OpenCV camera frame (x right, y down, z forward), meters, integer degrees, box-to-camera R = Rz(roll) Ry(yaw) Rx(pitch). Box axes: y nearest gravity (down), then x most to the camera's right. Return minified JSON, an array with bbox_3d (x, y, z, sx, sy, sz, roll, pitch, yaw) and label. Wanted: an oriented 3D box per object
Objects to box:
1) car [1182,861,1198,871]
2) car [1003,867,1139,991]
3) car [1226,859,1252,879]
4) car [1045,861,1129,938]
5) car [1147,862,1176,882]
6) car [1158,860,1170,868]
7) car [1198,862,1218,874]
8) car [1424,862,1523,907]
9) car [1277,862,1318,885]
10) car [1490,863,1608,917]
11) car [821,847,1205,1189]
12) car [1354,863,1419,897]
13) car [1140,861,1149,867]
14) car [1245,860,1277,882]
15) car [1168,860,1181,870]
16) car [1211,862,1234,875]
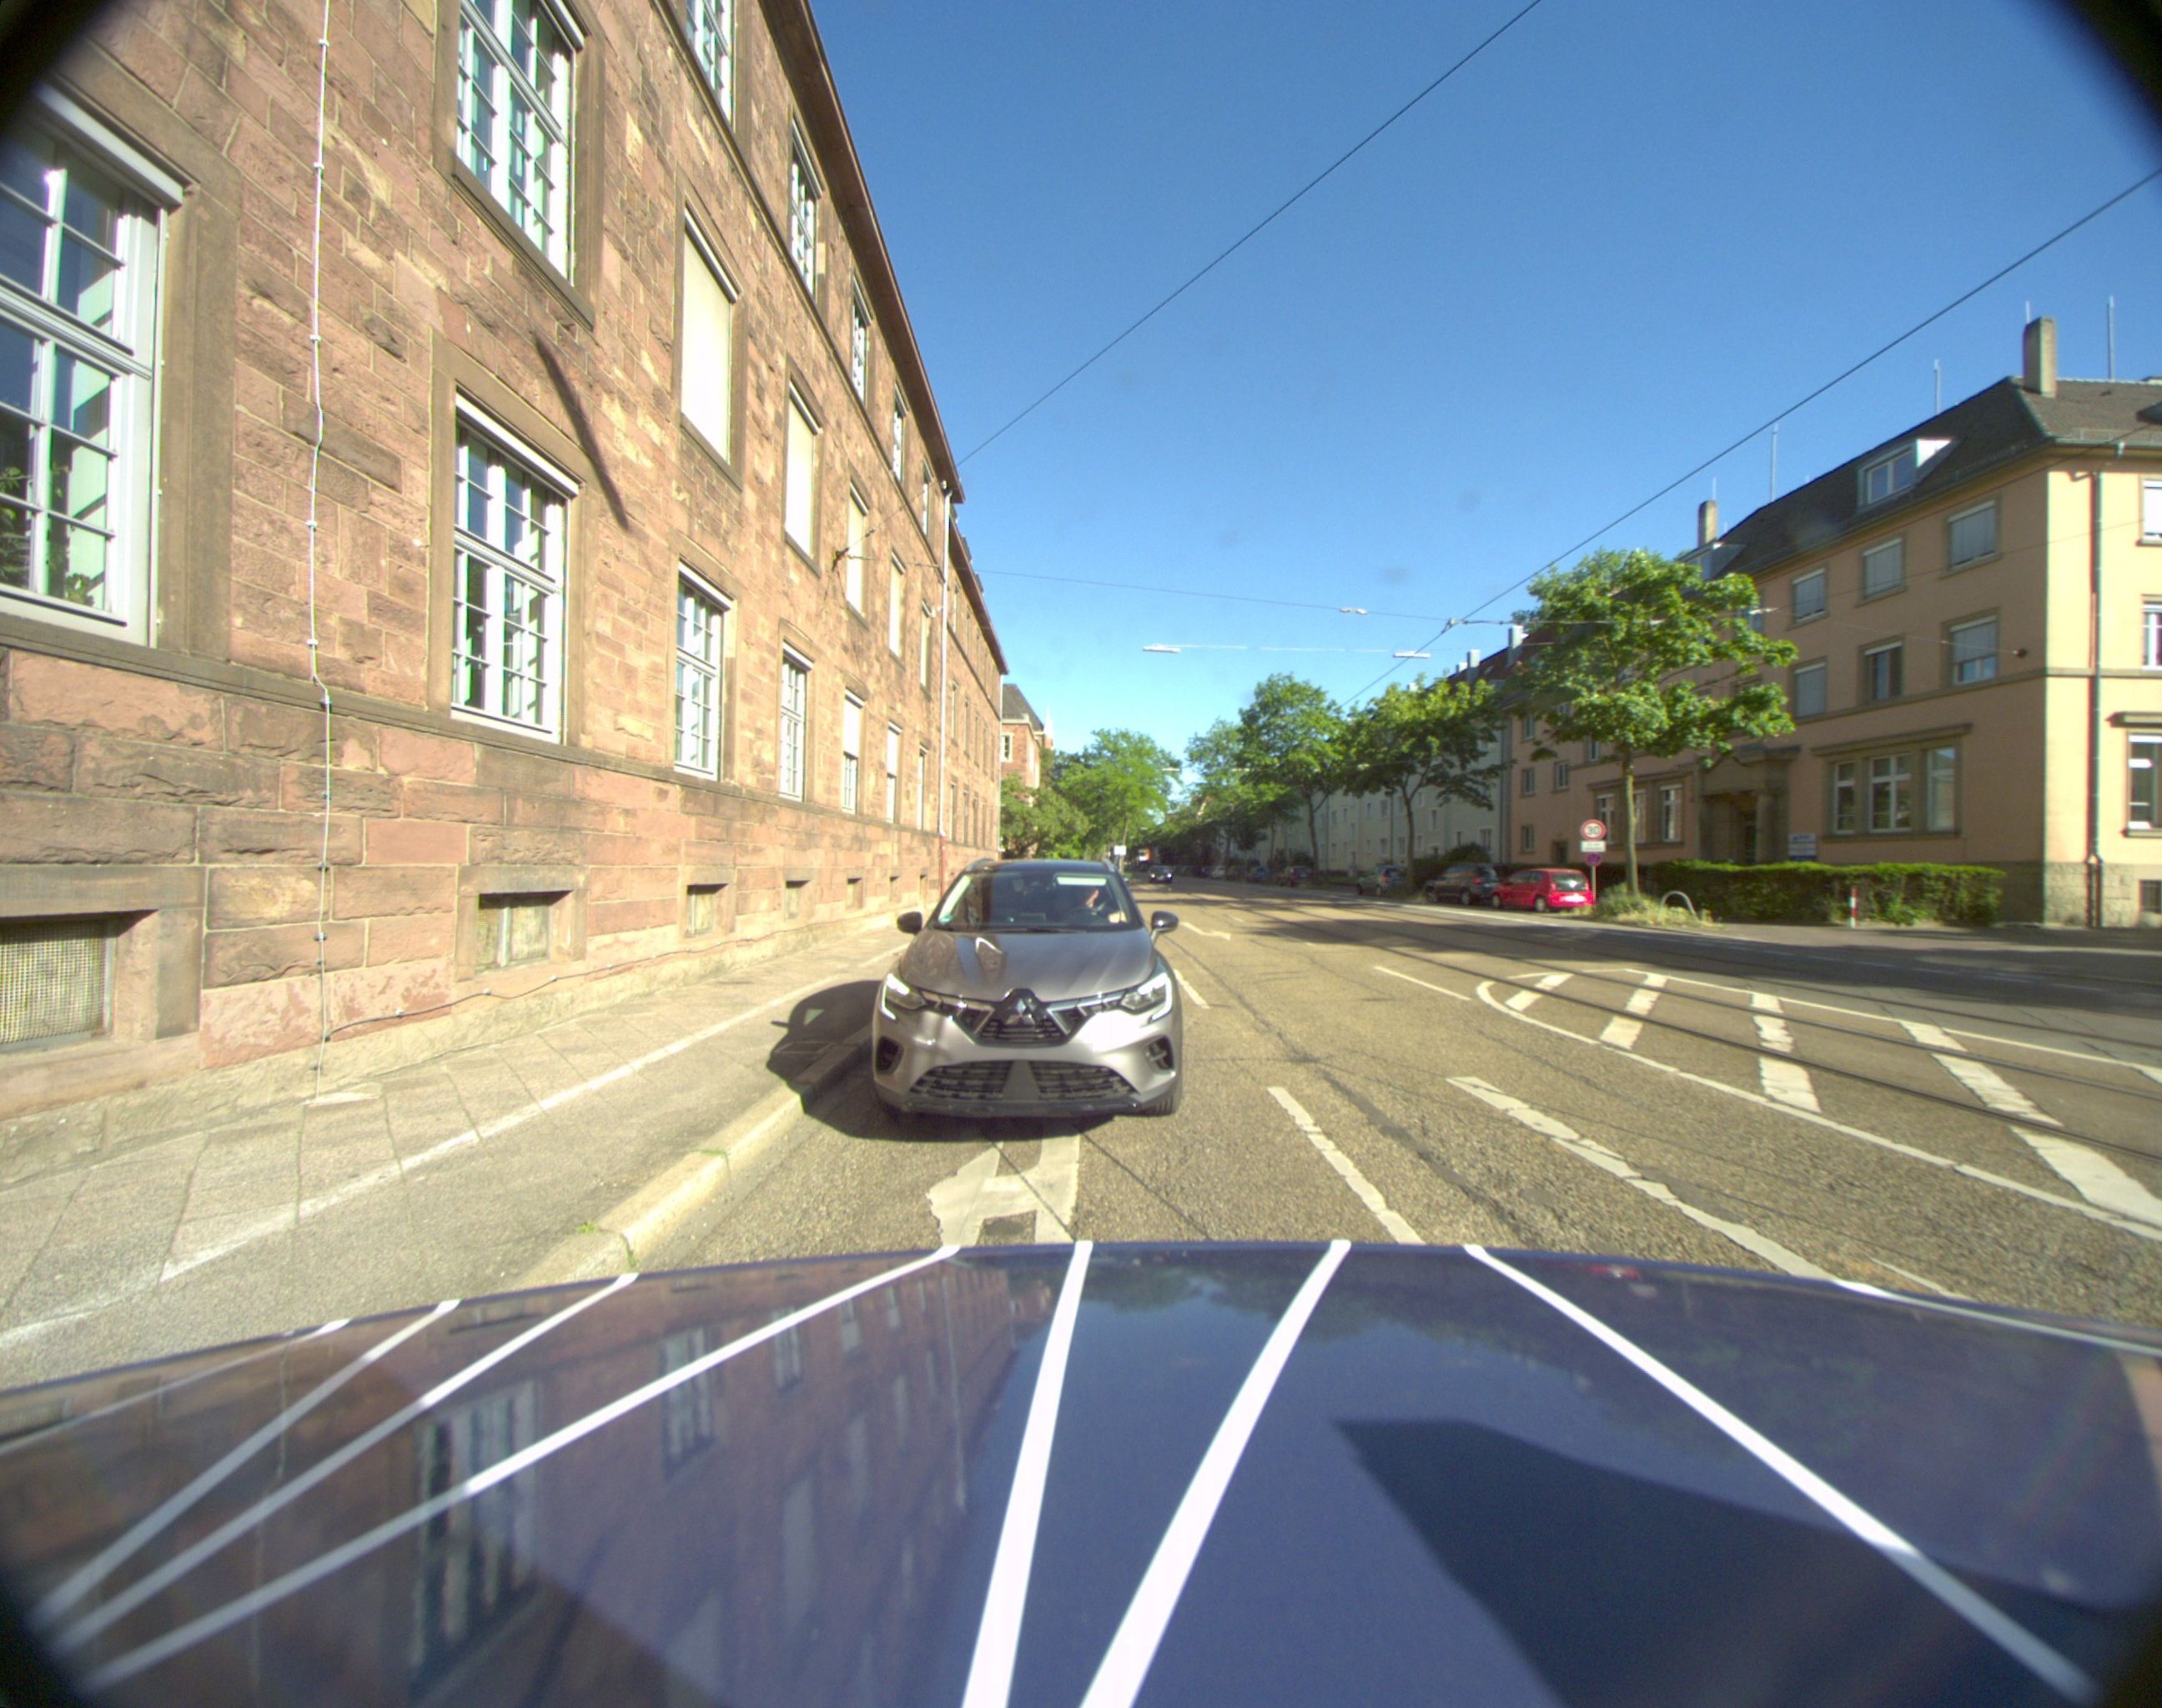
[{"bbox_3d":[16.039,1.739,111.806,1.816,1.411,3.630,1,0,-2],"label":"car"},{"bbox_3d":[-0.181,1.031,12.041,1.796,1.595,3.799,0,0,-2],"label":"car"},{"bbox_3d":[15.901,1.526,76.569,1.816,1.929,3.630,1,0,-2],"label":"car"},{"bbox_3d":[0.072,1.013,18.488,1.796,1.638,4.083,0,0,-2],"label":"car"},{"bbox_3d":[6.636,1.450,62.752,1.912,1.510,4.000,1,0,-1],"label":"car"},{"bbox_3d":[15.980,1.844,146.873,1.816,1.514,3.630,1,0,-2],"label":"car"},{"bbox_3d":[15.846,1.752,94.854,1.816,1.411,3.630,1,0,-2],"label":"car"},{"bbox_3d":[15.643,1.169,30.544,1.816,1.648,3.819,1,0,-3],"label":"car"},{"bbox_3d":[15.791,1.425,55.598,1.816,1.589,3.630,1,0,-2],"label":"car"},{"bbox_3d":[15.853,1.165,25.936,1.816,1.696,3.374,1,0,-3],"label":"car"},{"bbox_3d":[-0.365,0.785,5.494,1.796,1.595,3.799,0,0,-2],"label":"car"},{"bbox_3d":[15.731,1.299,39.354,1.816,1.648,3.877,1,0,1],"label":"car"},{"bbox_3d":[16.069,2.475,191.374,1.816,1.411,3.630,1,0,-2],"label":"car"},{"bbox_3d":[15.972,1.469,67.491,1.816,1.814,3.795,1,0,-2],"label":"car"},{"bbox_3d":[16.590,1.936,135.235,1.816,1.768,3.630,1,0,-2],"label":"car"},{"bbox_3d":[16.030,1.664,85.927,1.816,1.411,3.630,1,0,-2],"label":"car"}]
